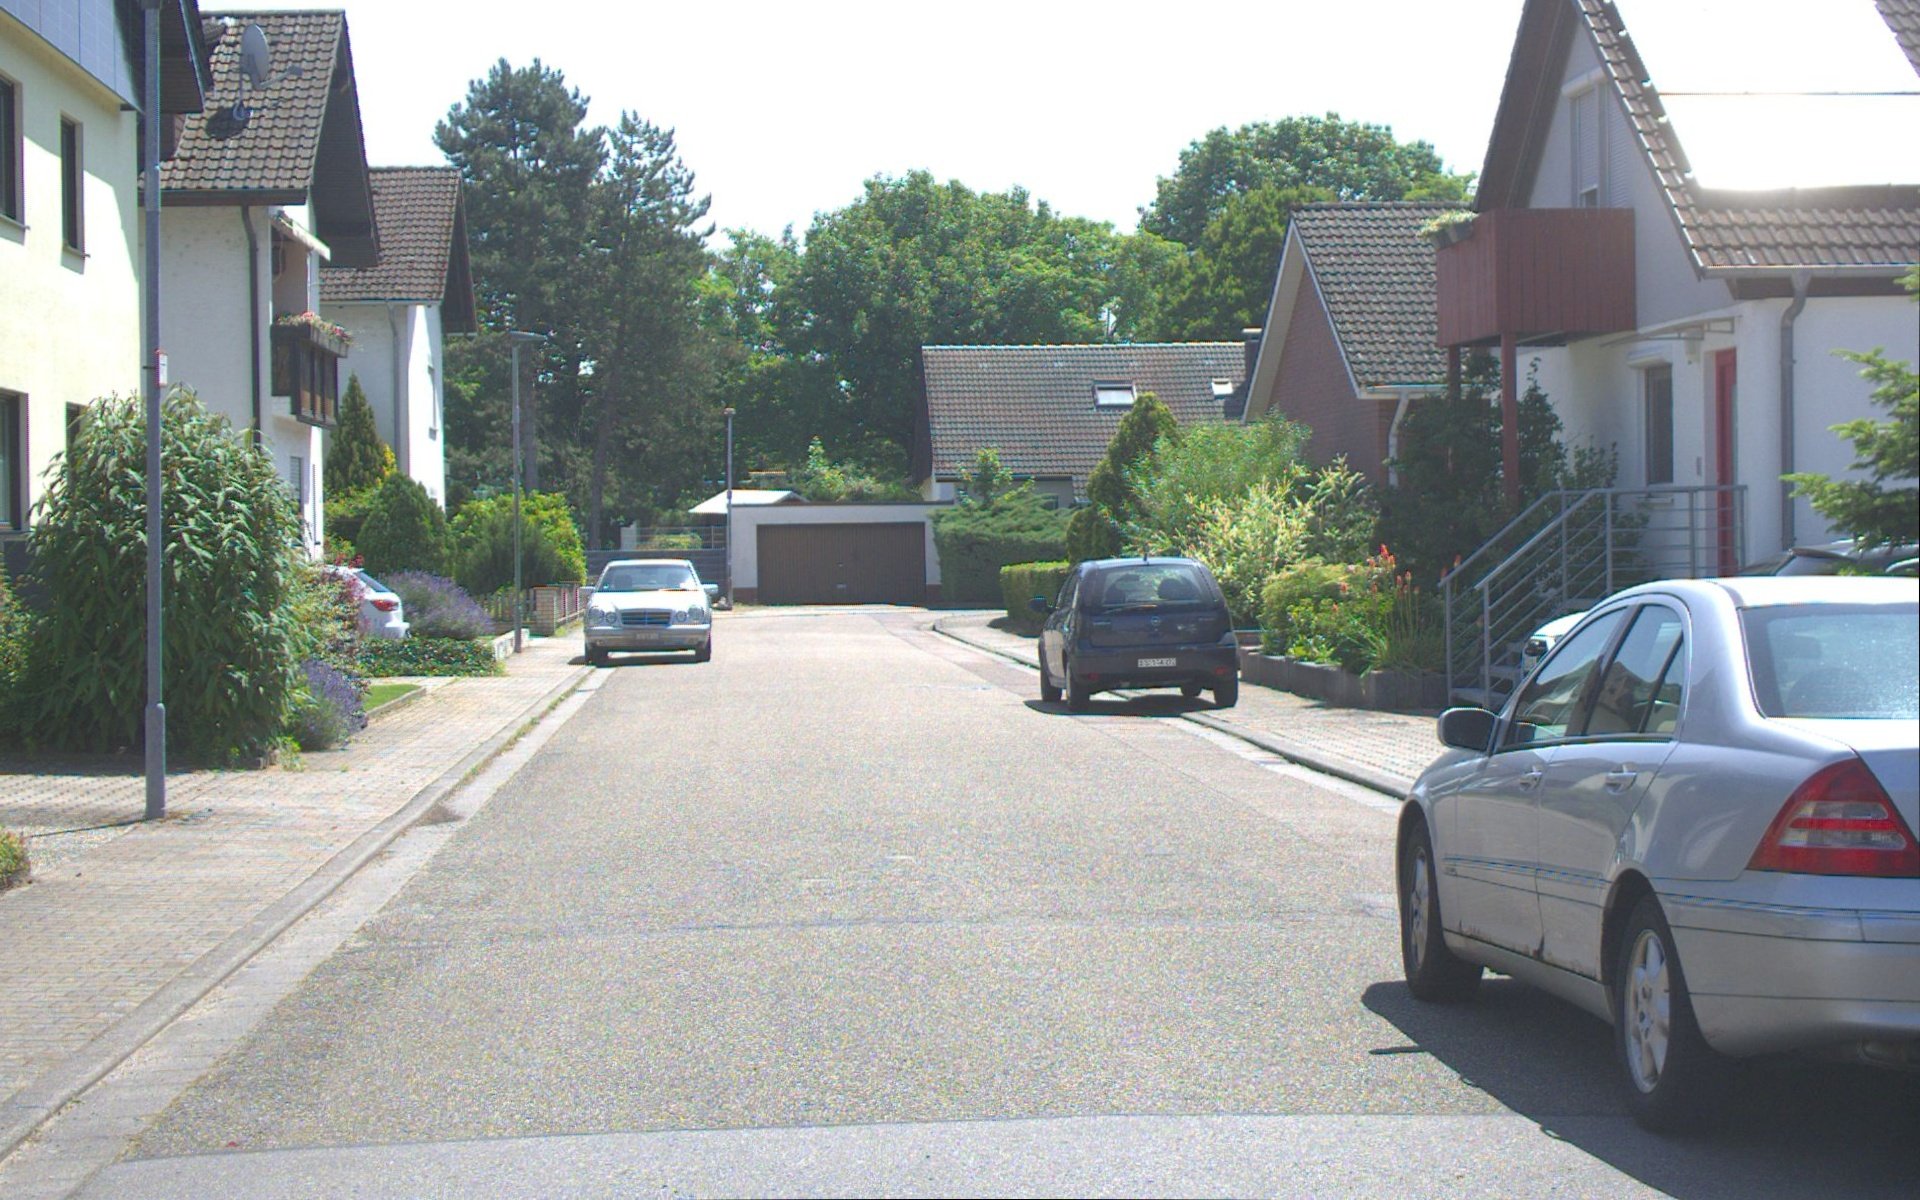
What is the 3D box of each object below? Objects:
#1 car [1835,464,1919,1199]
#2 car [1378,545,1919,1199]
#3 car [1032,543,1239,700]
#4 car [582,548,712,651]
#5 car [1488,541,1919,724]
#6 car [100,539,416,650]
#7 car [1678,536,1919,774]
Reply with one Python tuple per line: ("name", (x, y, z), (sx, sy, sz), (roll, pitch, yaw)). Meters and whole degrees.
("car", (2.793, 0.624, 4.329), (1.963, 1.656, 4.683), (0, 1, -3))
("car", (2.424, 0.587, 9.900), (1.686, 1.455, 4.337), (0, 1, -3))
("car", (1.661, 0.166, 33.598), (1.650, 1.435, 3.652), (0, 1, -3))
("car", (-4.468, -0.044, 49.498), (1.699, 1.388, 4.337), (0, 1, -3))
("car", (6.652, 0.231, 27.409), (4.537, 1.391, 1.952), (0, 1, -2))
("car", (-9.173, -0.083, 45.203), (3.986, 1.415, 1.846), (0, 1, -9))
("car", (7.129, 0.318, 22.816), (4.239, 1.481, 2.000), (0, 1, -4))
